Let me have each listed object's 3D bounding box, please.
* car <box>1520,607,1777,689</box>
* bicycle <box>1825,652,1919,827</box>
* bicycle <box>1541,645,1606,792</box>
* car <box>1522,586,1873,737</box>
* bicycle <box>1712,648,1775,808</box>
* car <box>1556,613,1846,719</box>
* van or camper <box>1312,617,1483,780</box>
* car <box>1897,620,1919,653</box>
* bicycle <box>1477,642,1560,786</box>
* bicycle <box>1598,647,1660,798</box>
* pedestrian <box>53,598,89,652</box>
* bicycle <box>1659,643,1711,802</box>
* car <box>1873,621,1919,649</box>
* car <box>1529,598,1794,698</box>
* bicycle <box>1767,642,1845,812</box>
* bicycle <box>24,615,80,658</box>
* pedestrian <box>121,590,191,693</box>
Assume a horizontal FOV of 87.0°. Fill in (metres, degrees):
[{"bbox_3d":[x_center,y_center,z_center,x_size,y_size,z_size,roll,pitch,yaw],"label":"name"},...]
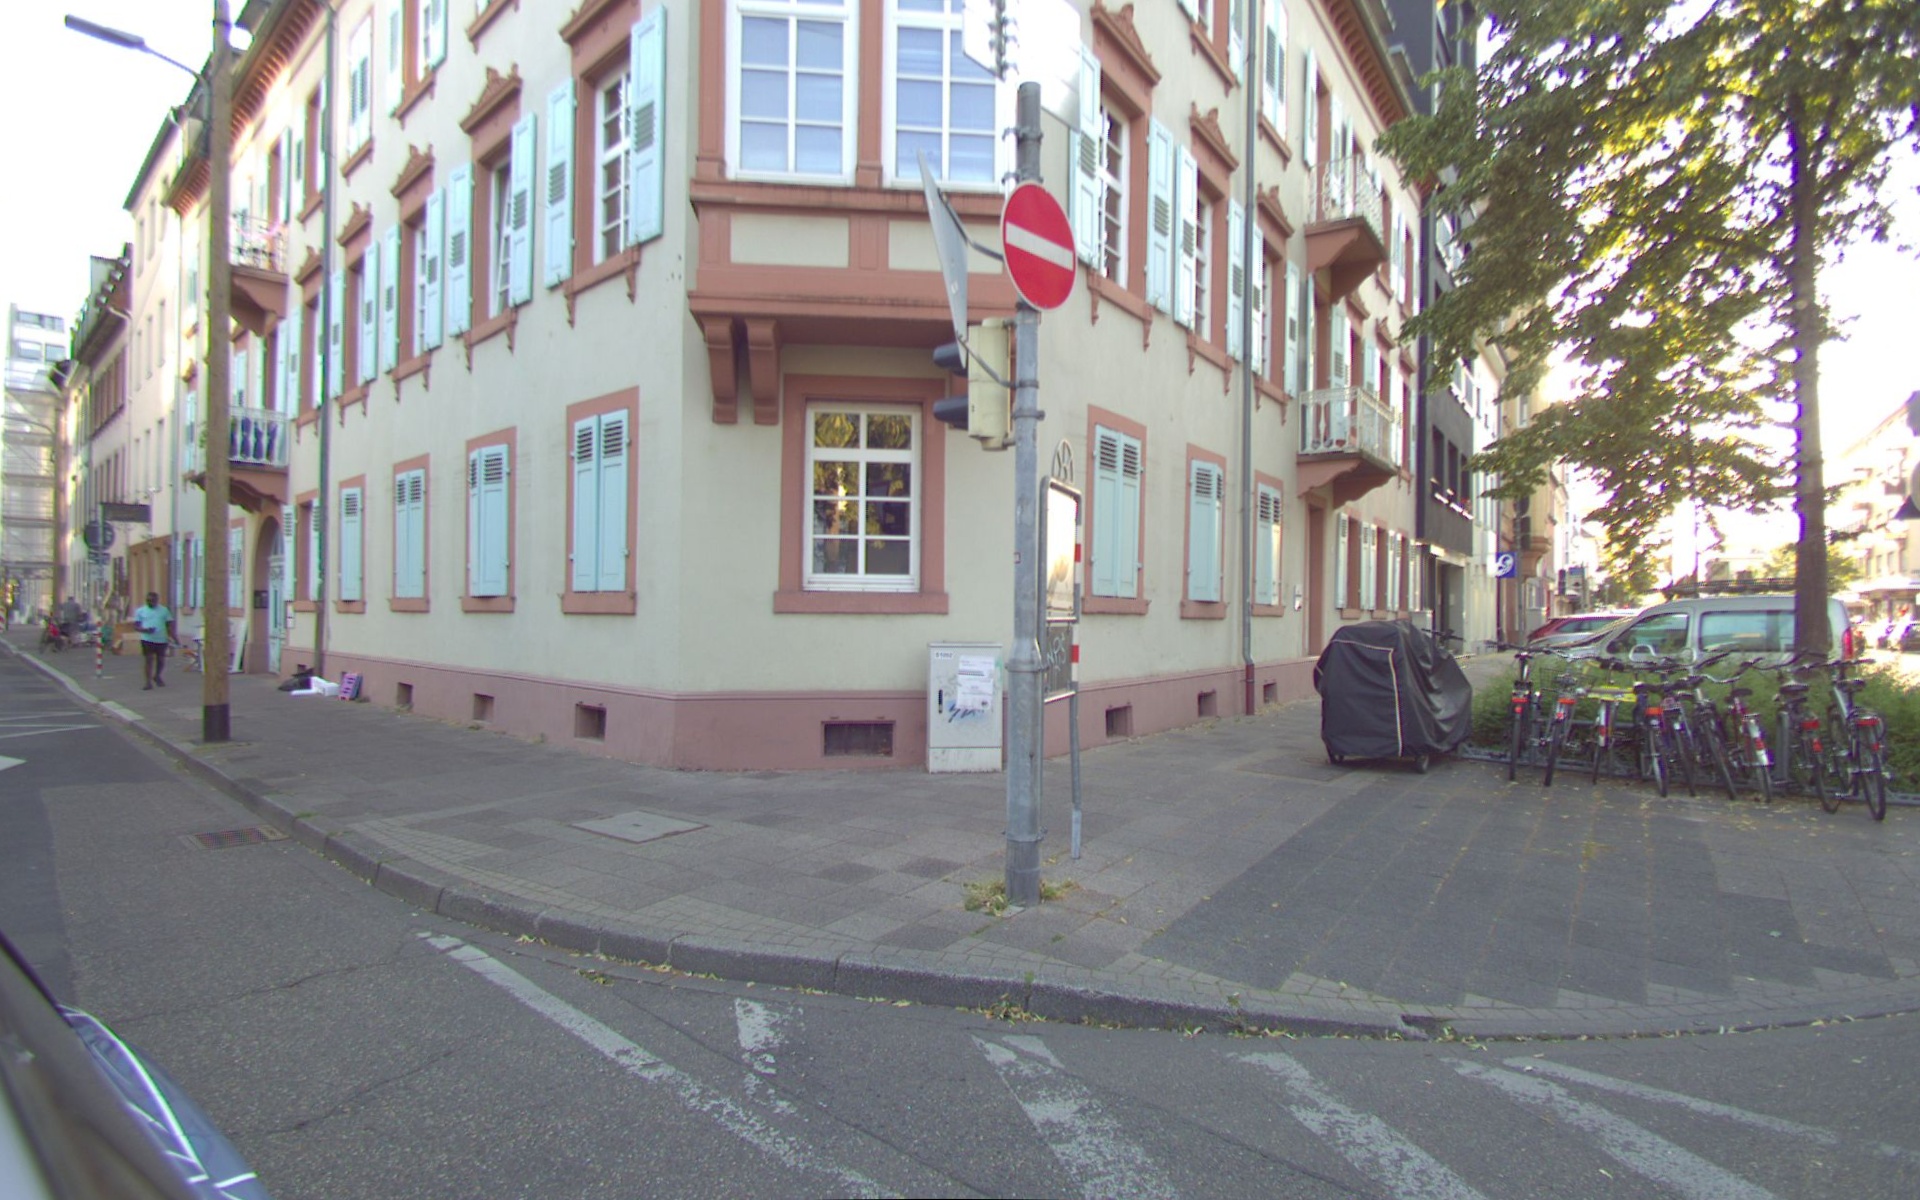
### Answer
[{"bbox_3d":[13.965,0.921,20.834,4.207,1.528,1.743,0,-1,32],"label":"car"},{"bbox_3d":[6.797,0.971,7.531,0.396,1.116,1.691,2,0,36],"label":"bicycle"},{"bbox_3d":[5.147,0.935,8.462,0.323,1.090,1.577,0,-1,36],"label":"bicycle"},{"bbox_3d":[10.247,0.781,14.320,3.818,1.863,1.678,0,-1,38],"label":"car"},{"bbox_3d":[6.148,0.951,7.974,0.319,1.090,1.577,2,0,36],"label":"bicycle"},{"bbox_3d":[11.948,0.982,16.474,3.659,1.526,1.627,0,-1,40],"label":"car"},{"bbox_3d":[3.959,0.808,9.072,0.943,1.269,1.821,1,-1,39],"label":"van or camper"},{"bbox_3d":[46.562,1.726,48.718,1.632,1.565,2.665,-1,-2,32],"label":"car"},{"bbox_3d":[4.837,0.929,8.723,0.396,1.090,1.577,2,0,36],"label":"bicycle"},{"bbox_3d":[5.490,0.946,8.284,0.341,1.090,1.577,-1,-2,36],"label":"bicycle"},{"bbox_3d":[-28.773,0.800,32.739,0.649,1.709,0.815,-1,-1,42],"label":"pedestrian"},{"bbox_3d":[5.878,0.930,8.196,0.312,1.157,1.592,0,-2,36],"label":"bicycle"},{"bbox_3d":[50.403,1.867,54.198,1.634,1.435,3.715,-1,-2,33],"label":"car"},{"bbox_3d":[12.754,0.813,18.562,3.832,1.597,1.719,1,-1,38],"label":"car"},{"bbox_3d":[6.504,0.920,7.816,0.331,1.149,1.577,2,0,36],"label":"bicycle"},{"bbox_3d":[-26.005,1.020,29.013,0.649,1.179,1.613,0,0,-21],"label":"bicycle"},{"bbox_3d":[-13.995,0.705,17.623,0.649,1.709,0.815,-1,1,42],"label":"pedestrian"}]
